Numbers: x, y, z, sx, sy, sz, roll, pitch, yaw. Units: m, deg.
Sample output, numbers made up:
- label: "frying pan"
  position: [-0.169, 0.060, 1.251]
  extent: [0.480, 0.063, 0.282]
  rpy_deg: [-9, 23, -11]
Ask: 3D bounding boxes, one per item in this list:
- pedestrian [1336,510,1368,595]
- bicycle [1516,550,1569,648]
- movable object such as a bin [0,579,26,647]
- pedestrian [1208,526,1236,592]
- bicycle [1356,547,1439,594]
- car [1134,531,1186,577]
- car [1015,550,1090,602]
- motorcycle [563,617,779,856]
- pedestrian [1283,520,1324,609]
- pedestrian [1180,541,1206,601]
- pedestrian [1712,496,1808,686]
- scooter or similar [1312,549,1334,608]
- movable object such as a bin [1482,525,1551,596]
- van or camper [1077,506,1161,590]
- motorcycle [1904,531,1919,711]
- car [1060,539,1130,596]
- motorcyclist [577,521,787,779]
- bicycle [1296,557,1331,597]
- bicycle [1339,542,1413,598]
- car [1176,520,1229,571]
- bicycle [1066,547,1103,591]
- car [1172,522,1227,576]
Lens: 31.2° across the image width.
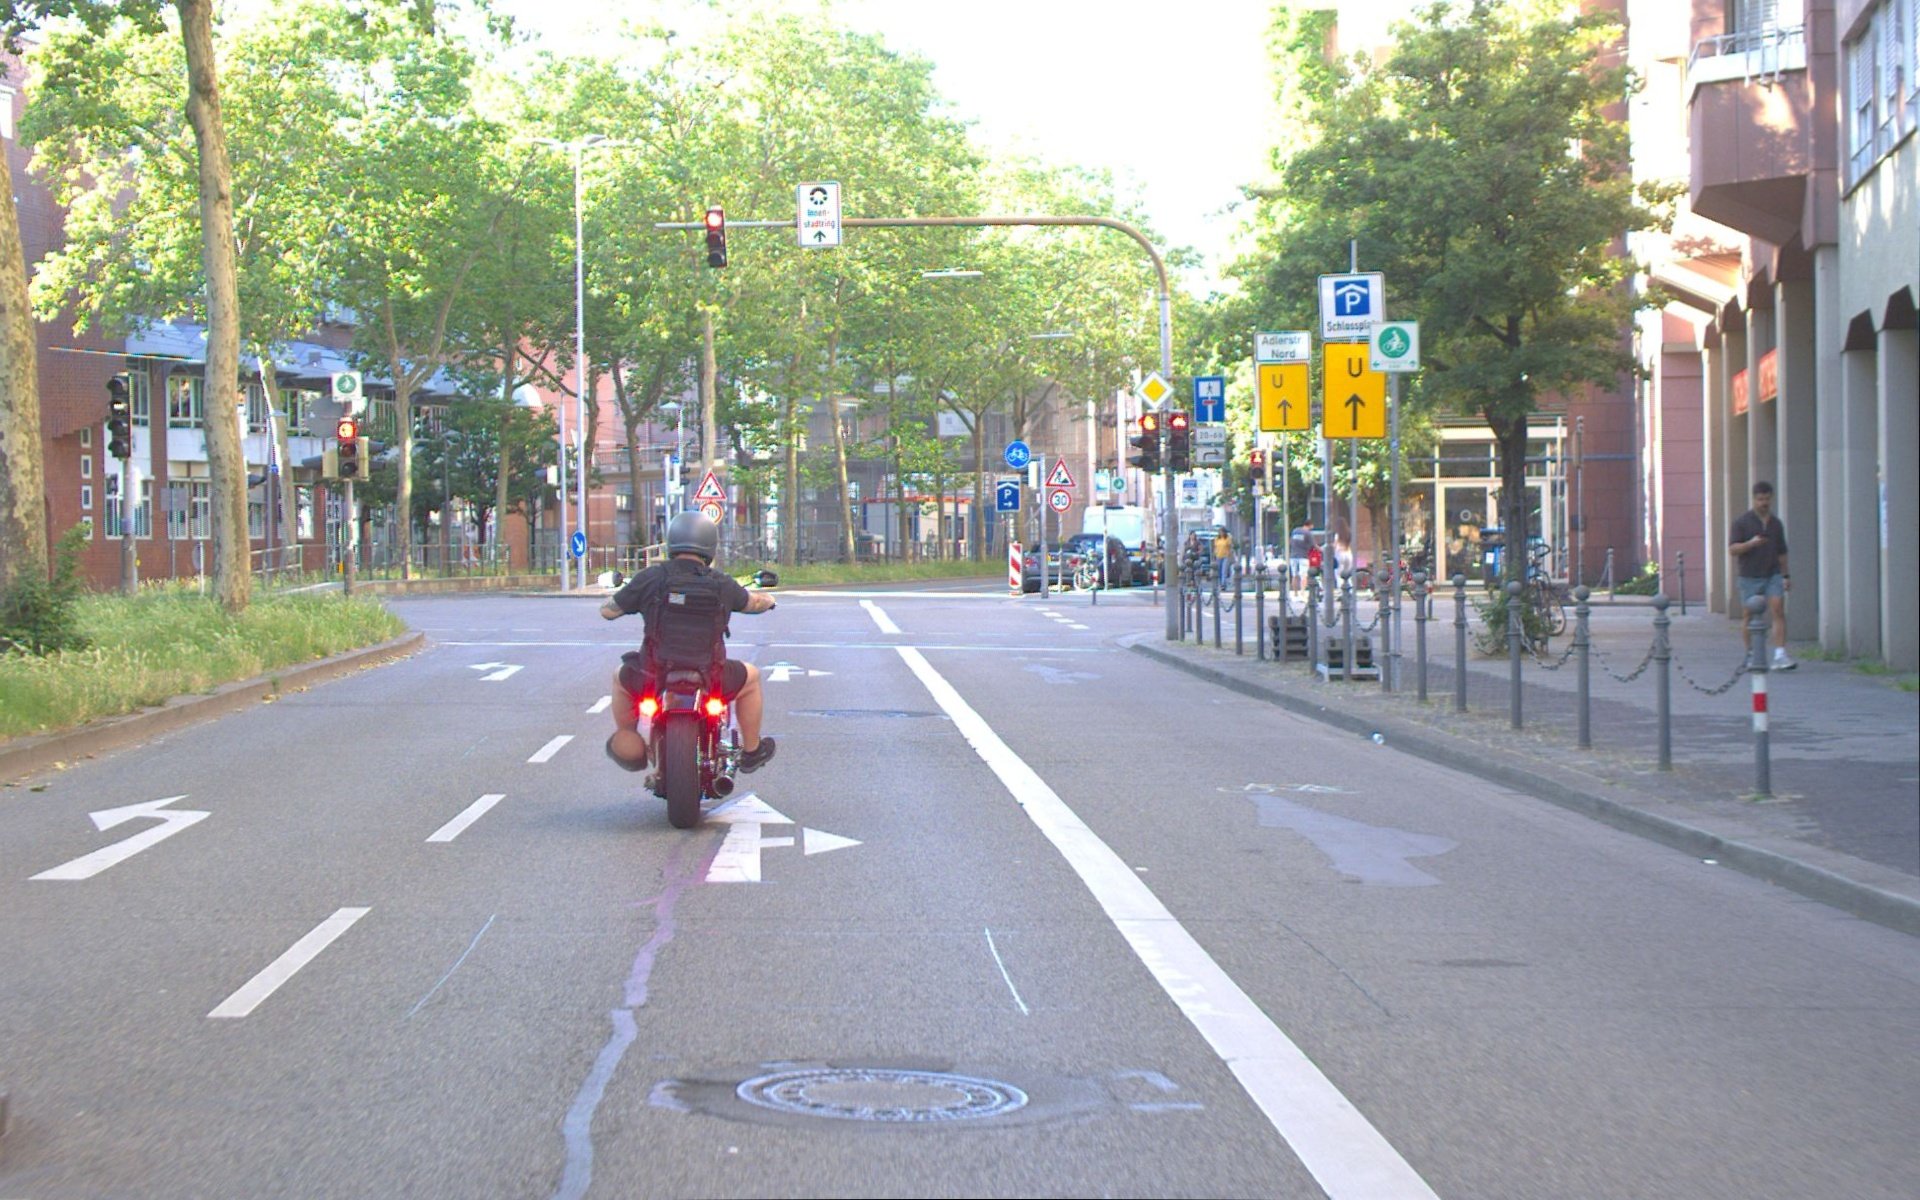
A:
- label: "pedestrian"
  position: [7.777, -0.945, 68.251]
  extent: [0.459, 1.667, 0.680]
  rpy_deg: [-1, 1, -7]
- label: "bicycle"
  position: [7.504, -0.023, 44.241]
  extent: [0.622, 1.221, 1.926]
  rpy_deg: [0, 1, 11]
- label: "movable object such as a bin"
  position: [-13.694, 0.184, 49.056]
  extent: [0.510, 0.950, 0.539]
  rpy_deg: [0, 1, 12]
- label: "pedestrian"
  position: [6.855, -1.070, 89.986]
  extent: [0.700, 1.727, 0.767]
  rpy_deg: [0, 1, 2]
- label: "bicycle"
  position: [9.989, -0.666, 78.518]
  extent: [1.749, 1.049, 0.738]
  rpy_deg: [0, 1, 26]
- label: "car"
  position: [7.035, -1.627, 120.746]
  extent: [1.620, 1.604, 3.773]
  rpy_deg: [0, 1, 6]
- label: "car"
  position: [2.478, -0.656, 91.406]
  extent: [1.620, 1.298, 4.311]
  rpy_deg: [0, 1, 7]
- label: "motorcycle"
  position: [-1.447, 0.666, 17.625]
  extent: [1.018, 1.093, 2.008]
  rpy_deg: [0, 1, -2]
- label: "pedestrian"
  position: [6.829, -0.705, 68.320]
  extent: [0.786, 1.757, 0.610]
  rpy_deg: [0, 1, 7]
- label: "pedestrian"
  position: [6.111, -0.764, 90.249]
  extent: [0.644, 1.573, 0.748]
  rpy_deg: [0, 1, 2]
- label: "pedestrian"
  position: [7.401, -0.088, 31.829]
  extent: [0.781, 1.732, 0.837]
  rpy_deg: [0, 1, 7]
- label: "scooter or similar"
  position: [7.203, -0.424, 68.258]
  extent: [0.394, 1.154, 1.249]
  rpy_deg: [-1, 1, 4]
- label: "movable object such as a bin"
  position: [11.779, -0.832, 72.768]
  extent: [1.410, 1.477, 0.871]
  rpy_deg: [0, 1, 10]
- label: "van or camper"
  position: [5.012, -1.637, 107.754]
  extent: [2.049, 2.532, 5.771]
  rpy_deg: [0, 1, 8]
- label: "motorcycle"
  position: [7.539, 0.174, 25.408]
  extent: [0.488, 1.368, 2.091]
  rpy_deg: [0, 1, -2]
- label: "car"
  position: [3.994, -0.976, 101.286]
  extent: [1.620, 1.614, 4.484]
  rpy_deg: [0, 1, 8]
- label: "motorcyclist"
  position: [-1.412, 0.243, 17.618]
  extent: [1.011, 1.258, 0.774]
  rpy_deg: [2, 1, -2]
- label: "bicycle"
  position: [8.613, -0.566, 83.752]
  extent: [0.737, 0.936, 1.752]
  rpy_deg: [0, 1, 2]
- label: "bicycle"
  position: [9.129, -0.663, 75.498]
  extent: [1.567, 1.223, 0.577]
  rpy_deg: [0, 1, 4]
- label: "car"
  position: [9.722, -2.193, 137.394]
  extent: [1.836, 2.007, 4.387]
  rpy_deg: [0, 1, 8]
- label: "bicycle"
  position: [3.051, -0.764, 84.371]
  extent: [0.737, 1.049, 1.752]
  rpy_deg: [0, 1, -3]
- label: "car"
  position: [9.205, -1.977, 131.894]
  extent: [1.836, 2.007, 4.387]
  rpy_deg: [0, 1, 8]
